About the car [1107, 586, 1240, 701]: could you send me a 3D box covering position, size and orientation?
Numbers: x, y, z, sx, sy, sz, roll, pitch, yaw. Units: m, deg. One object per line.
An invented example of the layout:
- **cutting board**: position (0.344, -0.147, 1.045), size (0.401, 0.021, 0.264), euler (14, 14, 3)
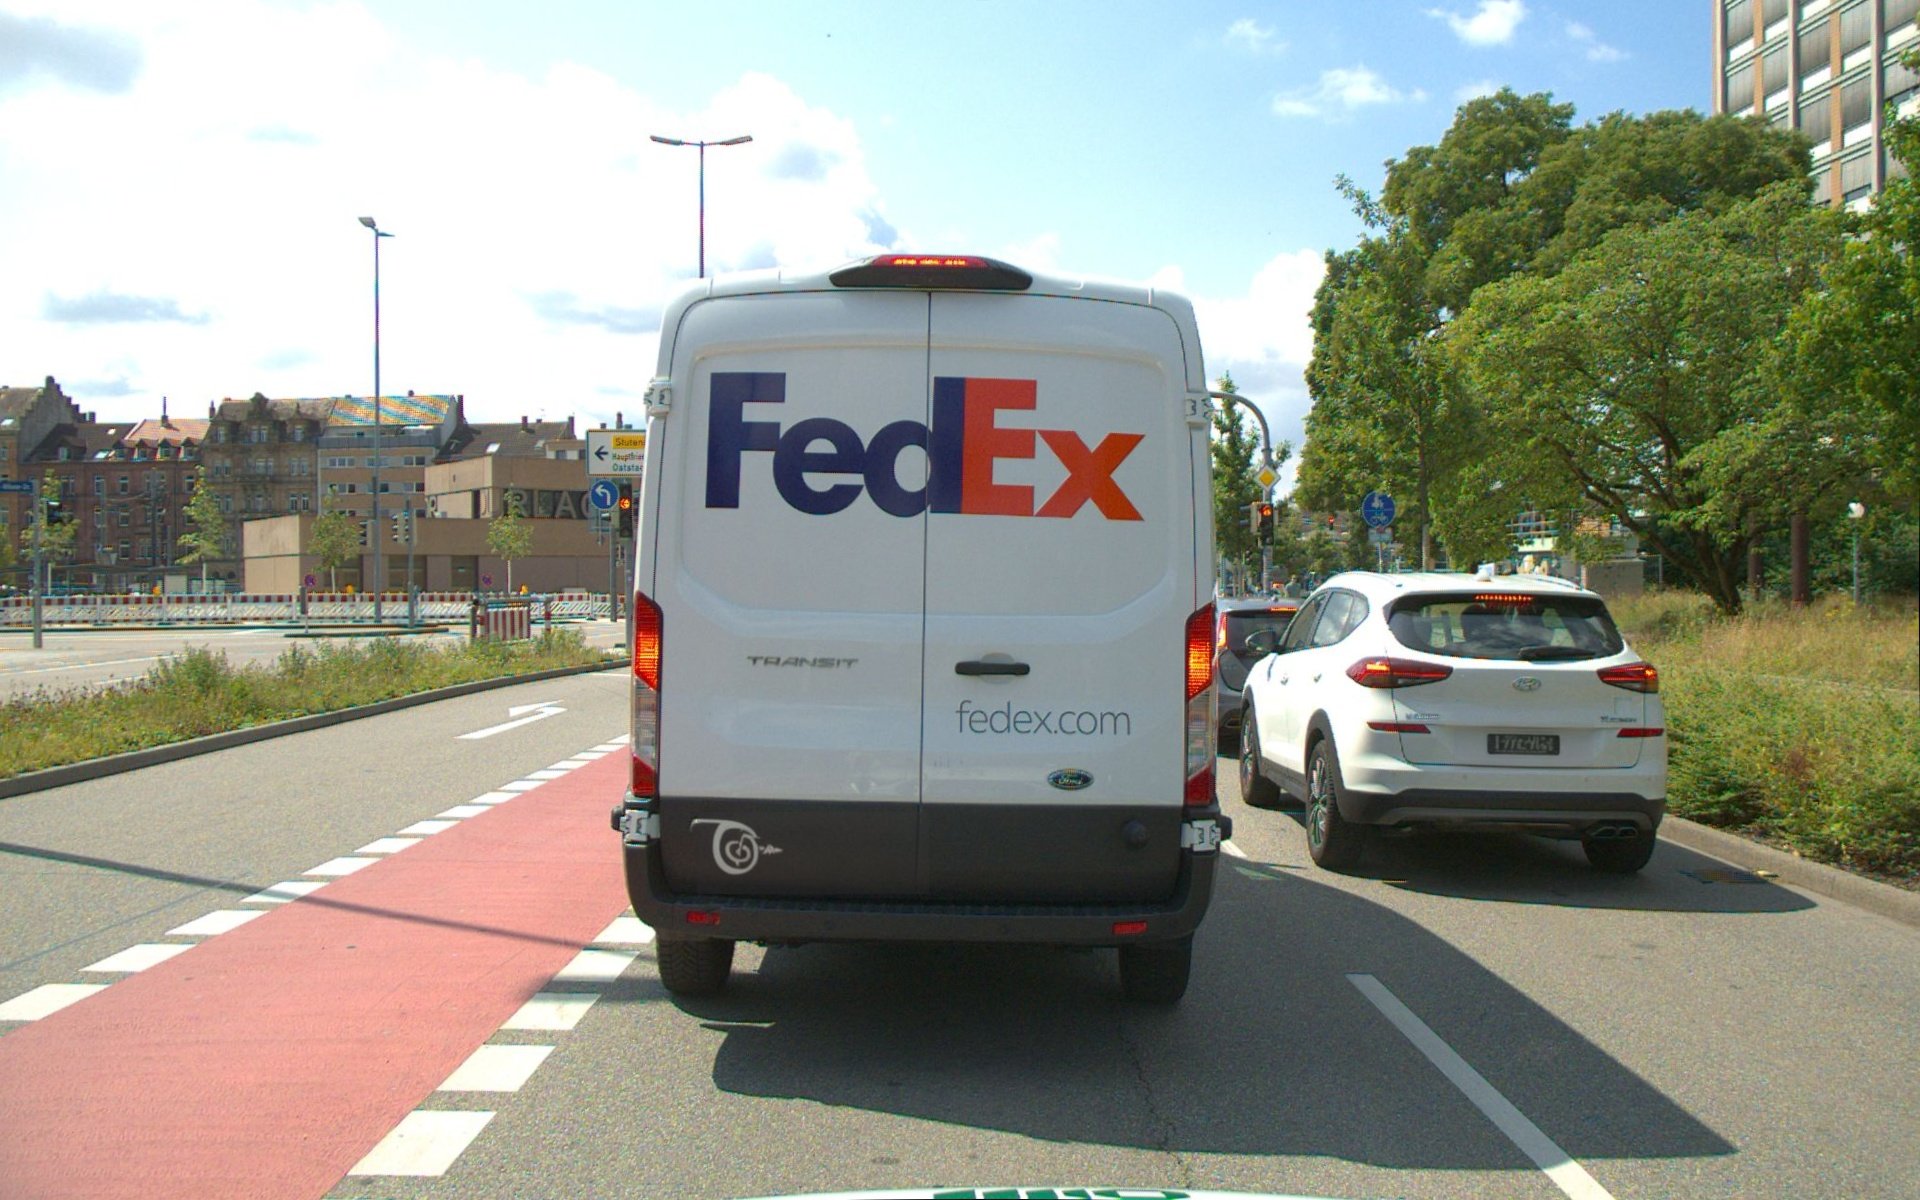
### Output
- **car**: position (2.947, 0.553, 23.390), size (1.468, 1.489, 3.474), euler (0, 1, 1)

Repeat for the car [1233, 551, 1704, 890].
- **car**: position (2.909, 0.588, 10.383), size (1.777, 1.708, 3.974), euler (0, 1, 1)

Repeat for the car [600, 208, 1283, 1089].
- **car**: position (-0.026, 0.123, 7.168), size (2.030, 2.626, 4.428), euler (0, 1, 1)

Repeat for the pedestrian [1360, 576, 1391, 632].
- **pedestrian**: position (14.095, 0.141, 56.152), size (0.745, 1.882, 0.814), euler (-1, 0, -11)

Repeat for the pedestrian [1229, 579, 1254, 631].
- **pedestrian**: position (10.210, 0.188, 60.058), size (0.796, 1.882, 0.761), euler (0, 0, 2)

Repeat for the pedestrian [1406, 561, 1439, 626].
- **pedestrian**: position (12.989, -0.192, 46.508), size (0.743, 1.820, 0.816), euler (0, 0, 4)

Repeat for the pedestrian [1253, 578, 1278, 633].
- **pedestrian**: position (10.496, 0.178, 56.836), size (0.743, 1.882, 0.816), euler (0, 0, 18)

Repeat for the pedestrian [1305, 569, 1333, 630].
- **pedestrian**: position (11.325, -0.021, 52.214), size (0.743, 1.882, 0.816), euler (0, 0, 3)

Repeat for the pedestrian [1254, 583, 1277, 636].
- **pedestrian**: position (10.935, 0.351, 59.199), size (0.742, 1.882, 0.817), euler (0, 0, 14)

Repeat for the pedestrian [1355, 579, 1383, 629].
- **pedestrian**: position (15.675, 0.151, 63.409), size (0.746, 1.882, 0.813), euler (-1, 0, -13)

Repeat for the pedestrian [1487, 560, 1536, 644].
- **pedestrian**: position (11.154, 0.035, 33.465), size (0.743, 1.684, 0.816), euler (0, 0, 3)

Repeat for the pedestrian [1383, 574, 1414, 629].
- **pedestrian**: position (14.956, 0.049, 56.432), size (0.745, 1.882, 0.814), euler (0, 0, -9)

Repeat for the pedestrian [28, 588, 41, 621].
- **pedestrian**: position (-47.594, 0.233, 85.072), size (0.416, 1.681, 0.416), euler (1, -1, 33)

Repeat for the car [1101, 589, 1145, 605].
- **car**: position (15.808, -0.305, 160.533), size (4.147, 1.524, 1.740), euler (0, 1, -1)

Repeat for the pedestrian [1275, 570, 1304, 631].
- **pedestrian**: position (10.350, 0.015, 52.028), size (0.743, 1.882, 0.816), euler (0, 0, 1)

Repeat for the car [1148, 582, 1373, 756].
- **car**: position (2.945, 0.606, 16.893), size (1.656, 1.576, 3.721), euler (0, 1, 1)
